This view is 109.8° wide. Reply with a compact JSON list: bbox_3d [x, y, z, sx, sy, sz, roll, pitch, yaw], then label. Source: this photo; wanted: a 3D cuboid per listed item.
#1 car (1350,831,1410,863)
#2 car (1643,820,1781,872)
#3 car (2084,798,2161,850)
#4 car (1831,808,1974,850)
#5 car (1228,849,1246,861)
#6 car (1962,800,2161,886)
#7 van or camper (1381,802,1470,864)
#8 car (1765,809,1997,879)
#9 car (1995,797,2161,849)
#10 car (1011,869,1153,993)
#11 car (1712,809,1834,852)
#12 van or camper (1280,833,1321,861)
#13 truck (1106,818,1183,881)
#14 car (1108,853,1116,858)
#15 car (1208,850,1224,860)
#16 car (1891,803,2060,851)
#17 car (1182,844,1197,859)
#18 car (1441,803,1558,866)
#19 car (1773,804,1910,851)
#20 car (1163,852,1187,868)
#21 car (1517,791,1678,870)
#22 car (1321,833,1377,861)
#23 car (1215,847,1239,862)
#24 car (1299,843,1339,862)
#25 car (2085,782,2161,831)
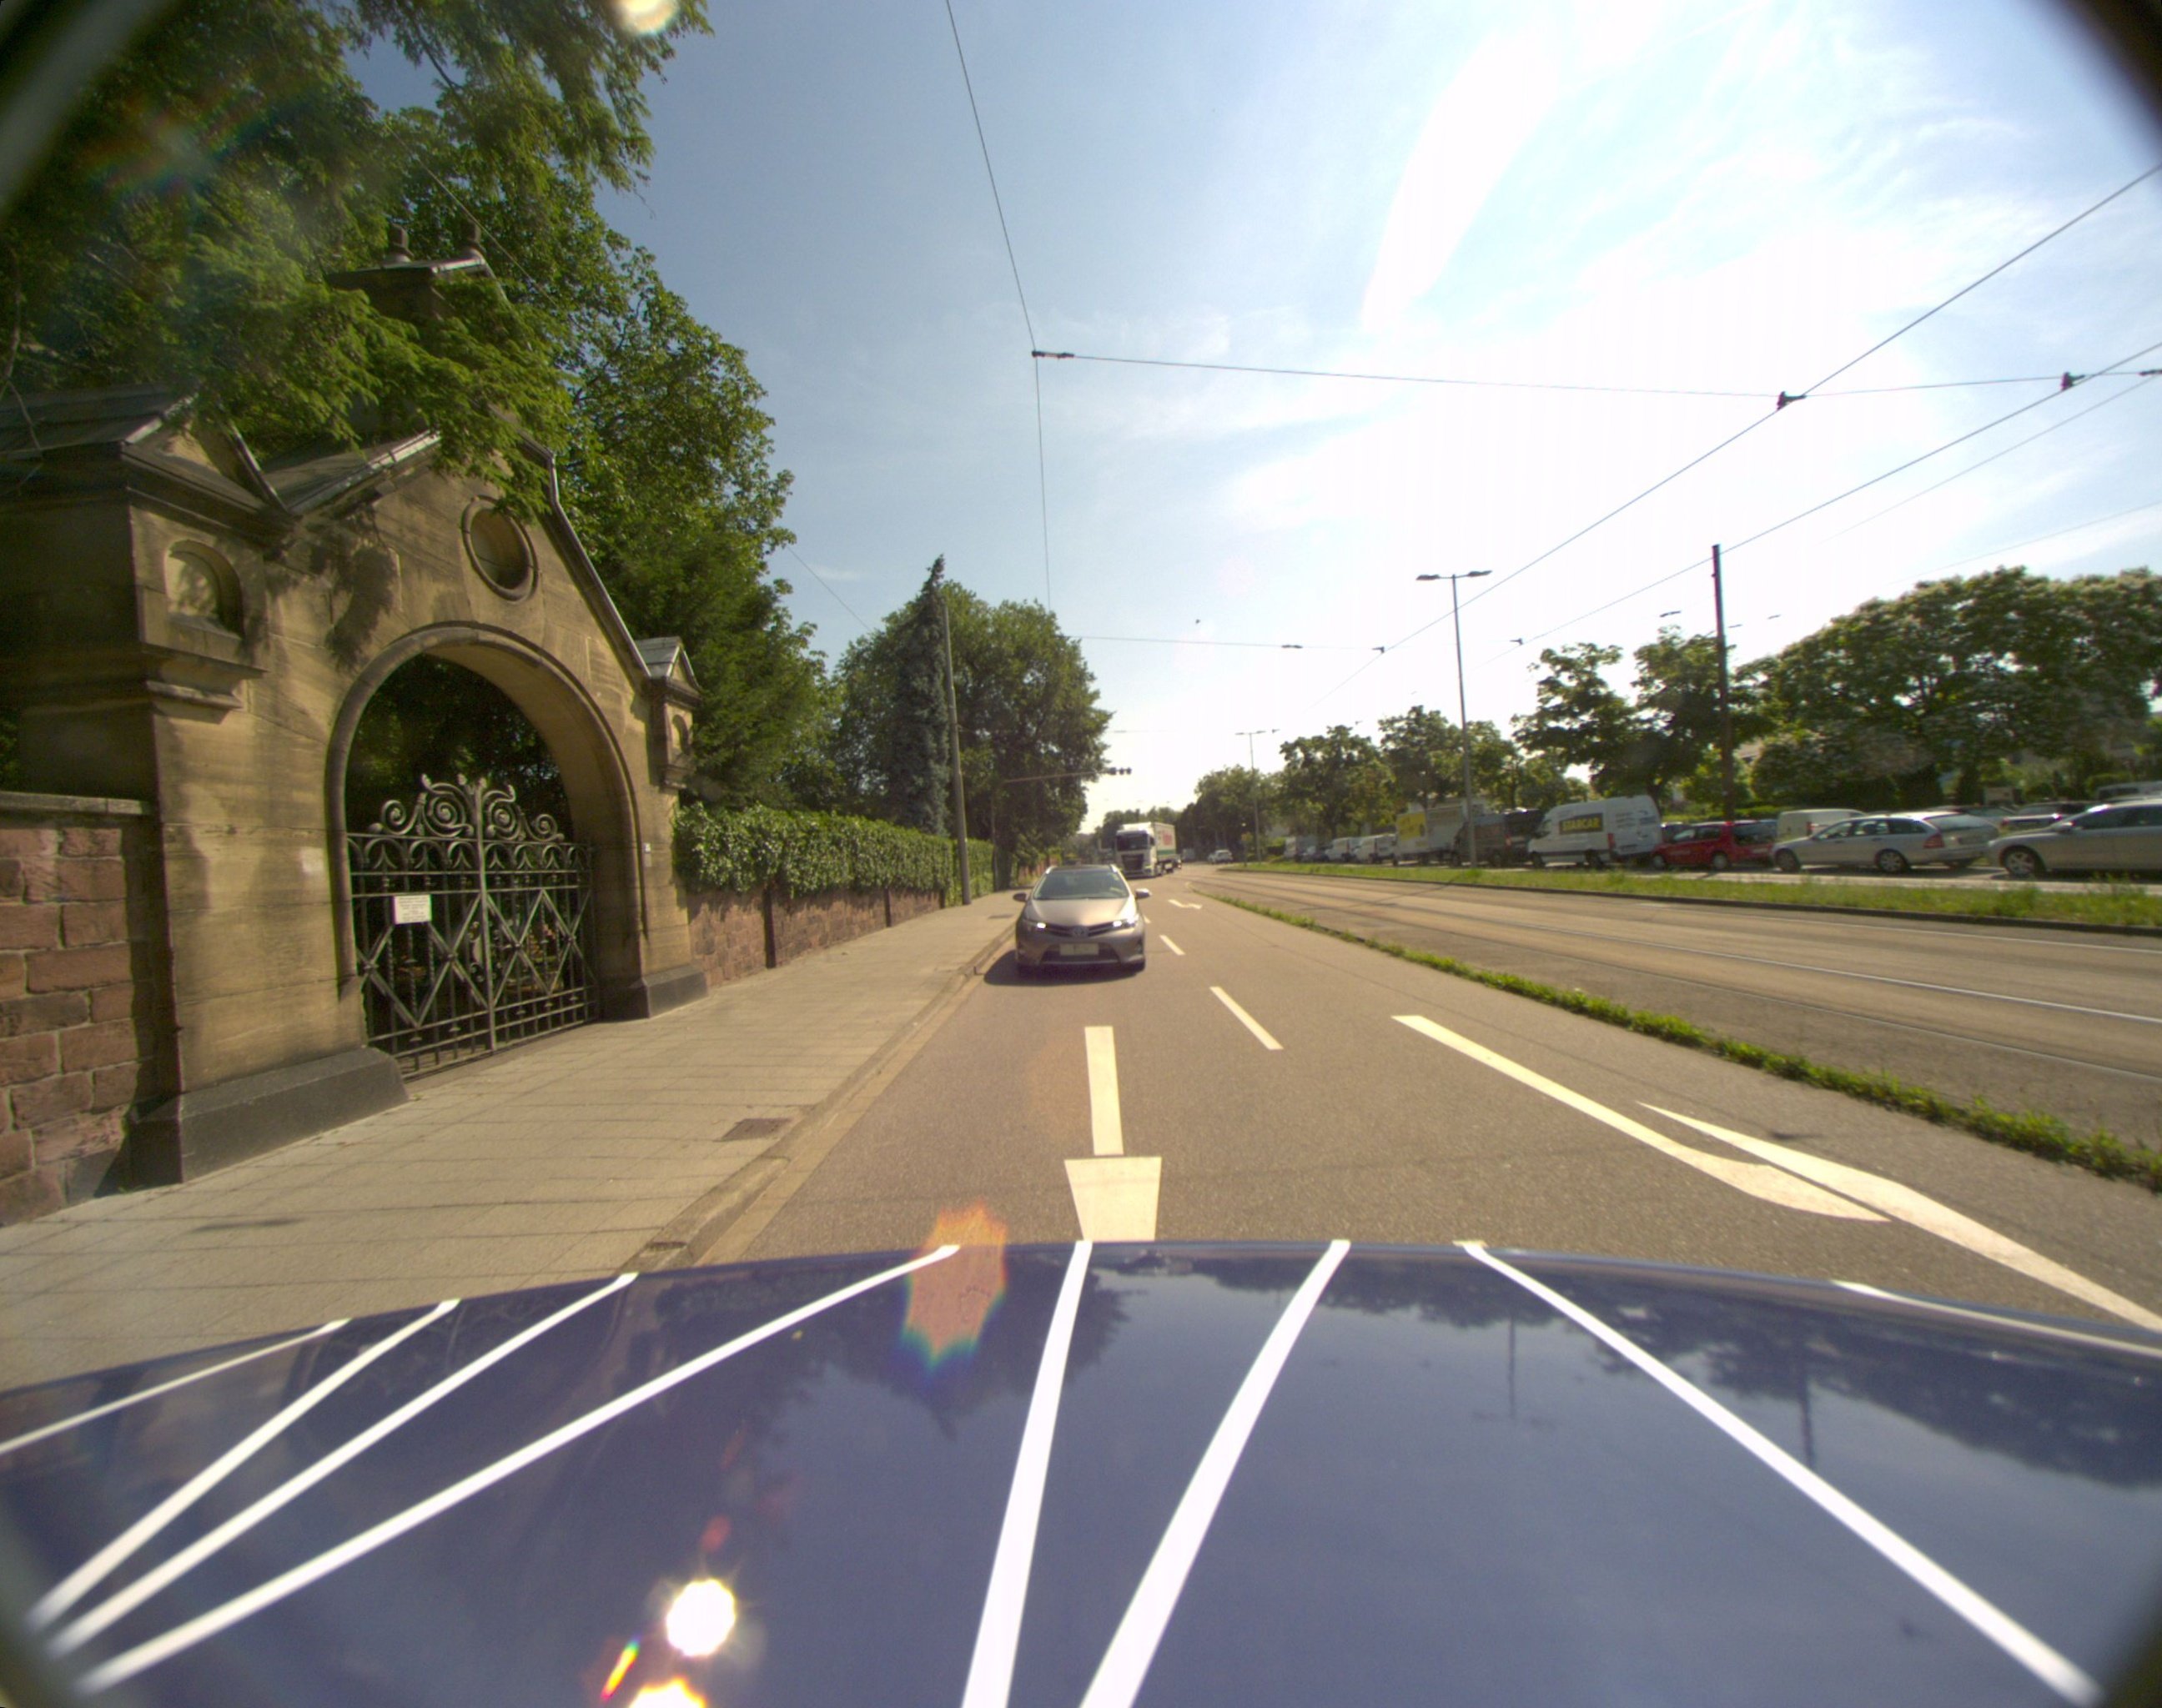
[{"bbox_3d":[21.049,-0.468,53.806,2.201,1.929,5.185,-6,0,2],"label":"car"},{"bbox_3d":[20.173,-0.239,24.493,1.295,1.481,3.676,-4,0,-1],"label":"car"},{"bbox_3d":[30.489,-0.898,20.901,3.998,1.363,1.488,-3,0,-3],"label":"car"},{"bbox_3d":[31.674,-0.958,29.338,3.998,1.363,1.489,-3,0,-3],"label":"car"},{"bbox_3d":[21.030,0.160,102.740,1.619,1.442,4.083,-4,0,2],"label":"car"},{"bbox_3d":[20.087,-0.232,14.312,1.608,1.481,4.618,-6,0,2],"label":"car"},{"bbox_3d":[20.409,-1.164,45.443,2.201,3.222,6.773,-6,0,2],"label":"van or camper"},{"bbox_3d":[20.162,-0.237,19.459,1.295,1.481,4.351,-5,0,1],"label":"car"},{"bbox_3d":[31.398,-0.962,23.734,3.998,1.363,1.489,-3,0,-3],"label":"car"},{"bbox_3d":[0.016,1.006,11.553,1.719,1.439,4.030,-2,0,0],"label":"car"},{"bbox_3d":[31.715,-1.066,34.896,3.997,1.684,1.663,-3,0,0],"label":"car"},{"bbox_3d":[21.099,-0.635,73.412,2.262,2.500,6.148,-3,0,2],"label":"van or camper"},{"bbox_3d":[5.169,-0.387,58.187,3.388,4.045,14.300,-4,0,14],"label":"truck"},{"bbox_3d":[10.097,0.512,248.052,1.999,1.783,3.998,-4,0,-5],"label":"car"},{"bbox_3d":[21.287,0.224,120.068,1.679,1.427,4.457,-4,0,-1],"label":"car"},{"bbox_3d":[31.166,-0.922,26.537,3.998,1.363,1.660,-3,0,-2],"label":"car"},{"bbox_3d":[21.539,-0.510,151.057,2.016,2.635,6.086,-7,0,1],"label":"car"},{"bbox_3d":[20.308,-0.857,37.283,2.201,2.653,6.079,-5,0,0],"label":"car"},{"bbox_3d":[31.804,-1.091,31.847,3.997,1.684,1.663,-3,0,0],"label":"car"},{"bbox_3d":[9.358,0.579,75.985,1.759,1.455,4.000,-4,0,0],"label":"car"},{"bbox_3d":[20.240,-0.820,30.224,2.201,2.615,5.979,-6,0,1],"label":"car"},{"bbox_3d":[21.245,-0.529,60.503,2.202,1.929,5.183,-5,0,-3],"label":"car"},{"bbox_3d":[16.388,0.048,85.656,2.048,1.587,4.661,-2,0,4],"label":"car"},{"bbox_3d":[20.844,-0.136,66.716,1.937,1.446,4.886,-5,0,1],"label":"car"},{"bbox_3d":[47.222,-2.139,33.302,3.998,1.991,1.910,-4,0,-3],"label":"car"}]
